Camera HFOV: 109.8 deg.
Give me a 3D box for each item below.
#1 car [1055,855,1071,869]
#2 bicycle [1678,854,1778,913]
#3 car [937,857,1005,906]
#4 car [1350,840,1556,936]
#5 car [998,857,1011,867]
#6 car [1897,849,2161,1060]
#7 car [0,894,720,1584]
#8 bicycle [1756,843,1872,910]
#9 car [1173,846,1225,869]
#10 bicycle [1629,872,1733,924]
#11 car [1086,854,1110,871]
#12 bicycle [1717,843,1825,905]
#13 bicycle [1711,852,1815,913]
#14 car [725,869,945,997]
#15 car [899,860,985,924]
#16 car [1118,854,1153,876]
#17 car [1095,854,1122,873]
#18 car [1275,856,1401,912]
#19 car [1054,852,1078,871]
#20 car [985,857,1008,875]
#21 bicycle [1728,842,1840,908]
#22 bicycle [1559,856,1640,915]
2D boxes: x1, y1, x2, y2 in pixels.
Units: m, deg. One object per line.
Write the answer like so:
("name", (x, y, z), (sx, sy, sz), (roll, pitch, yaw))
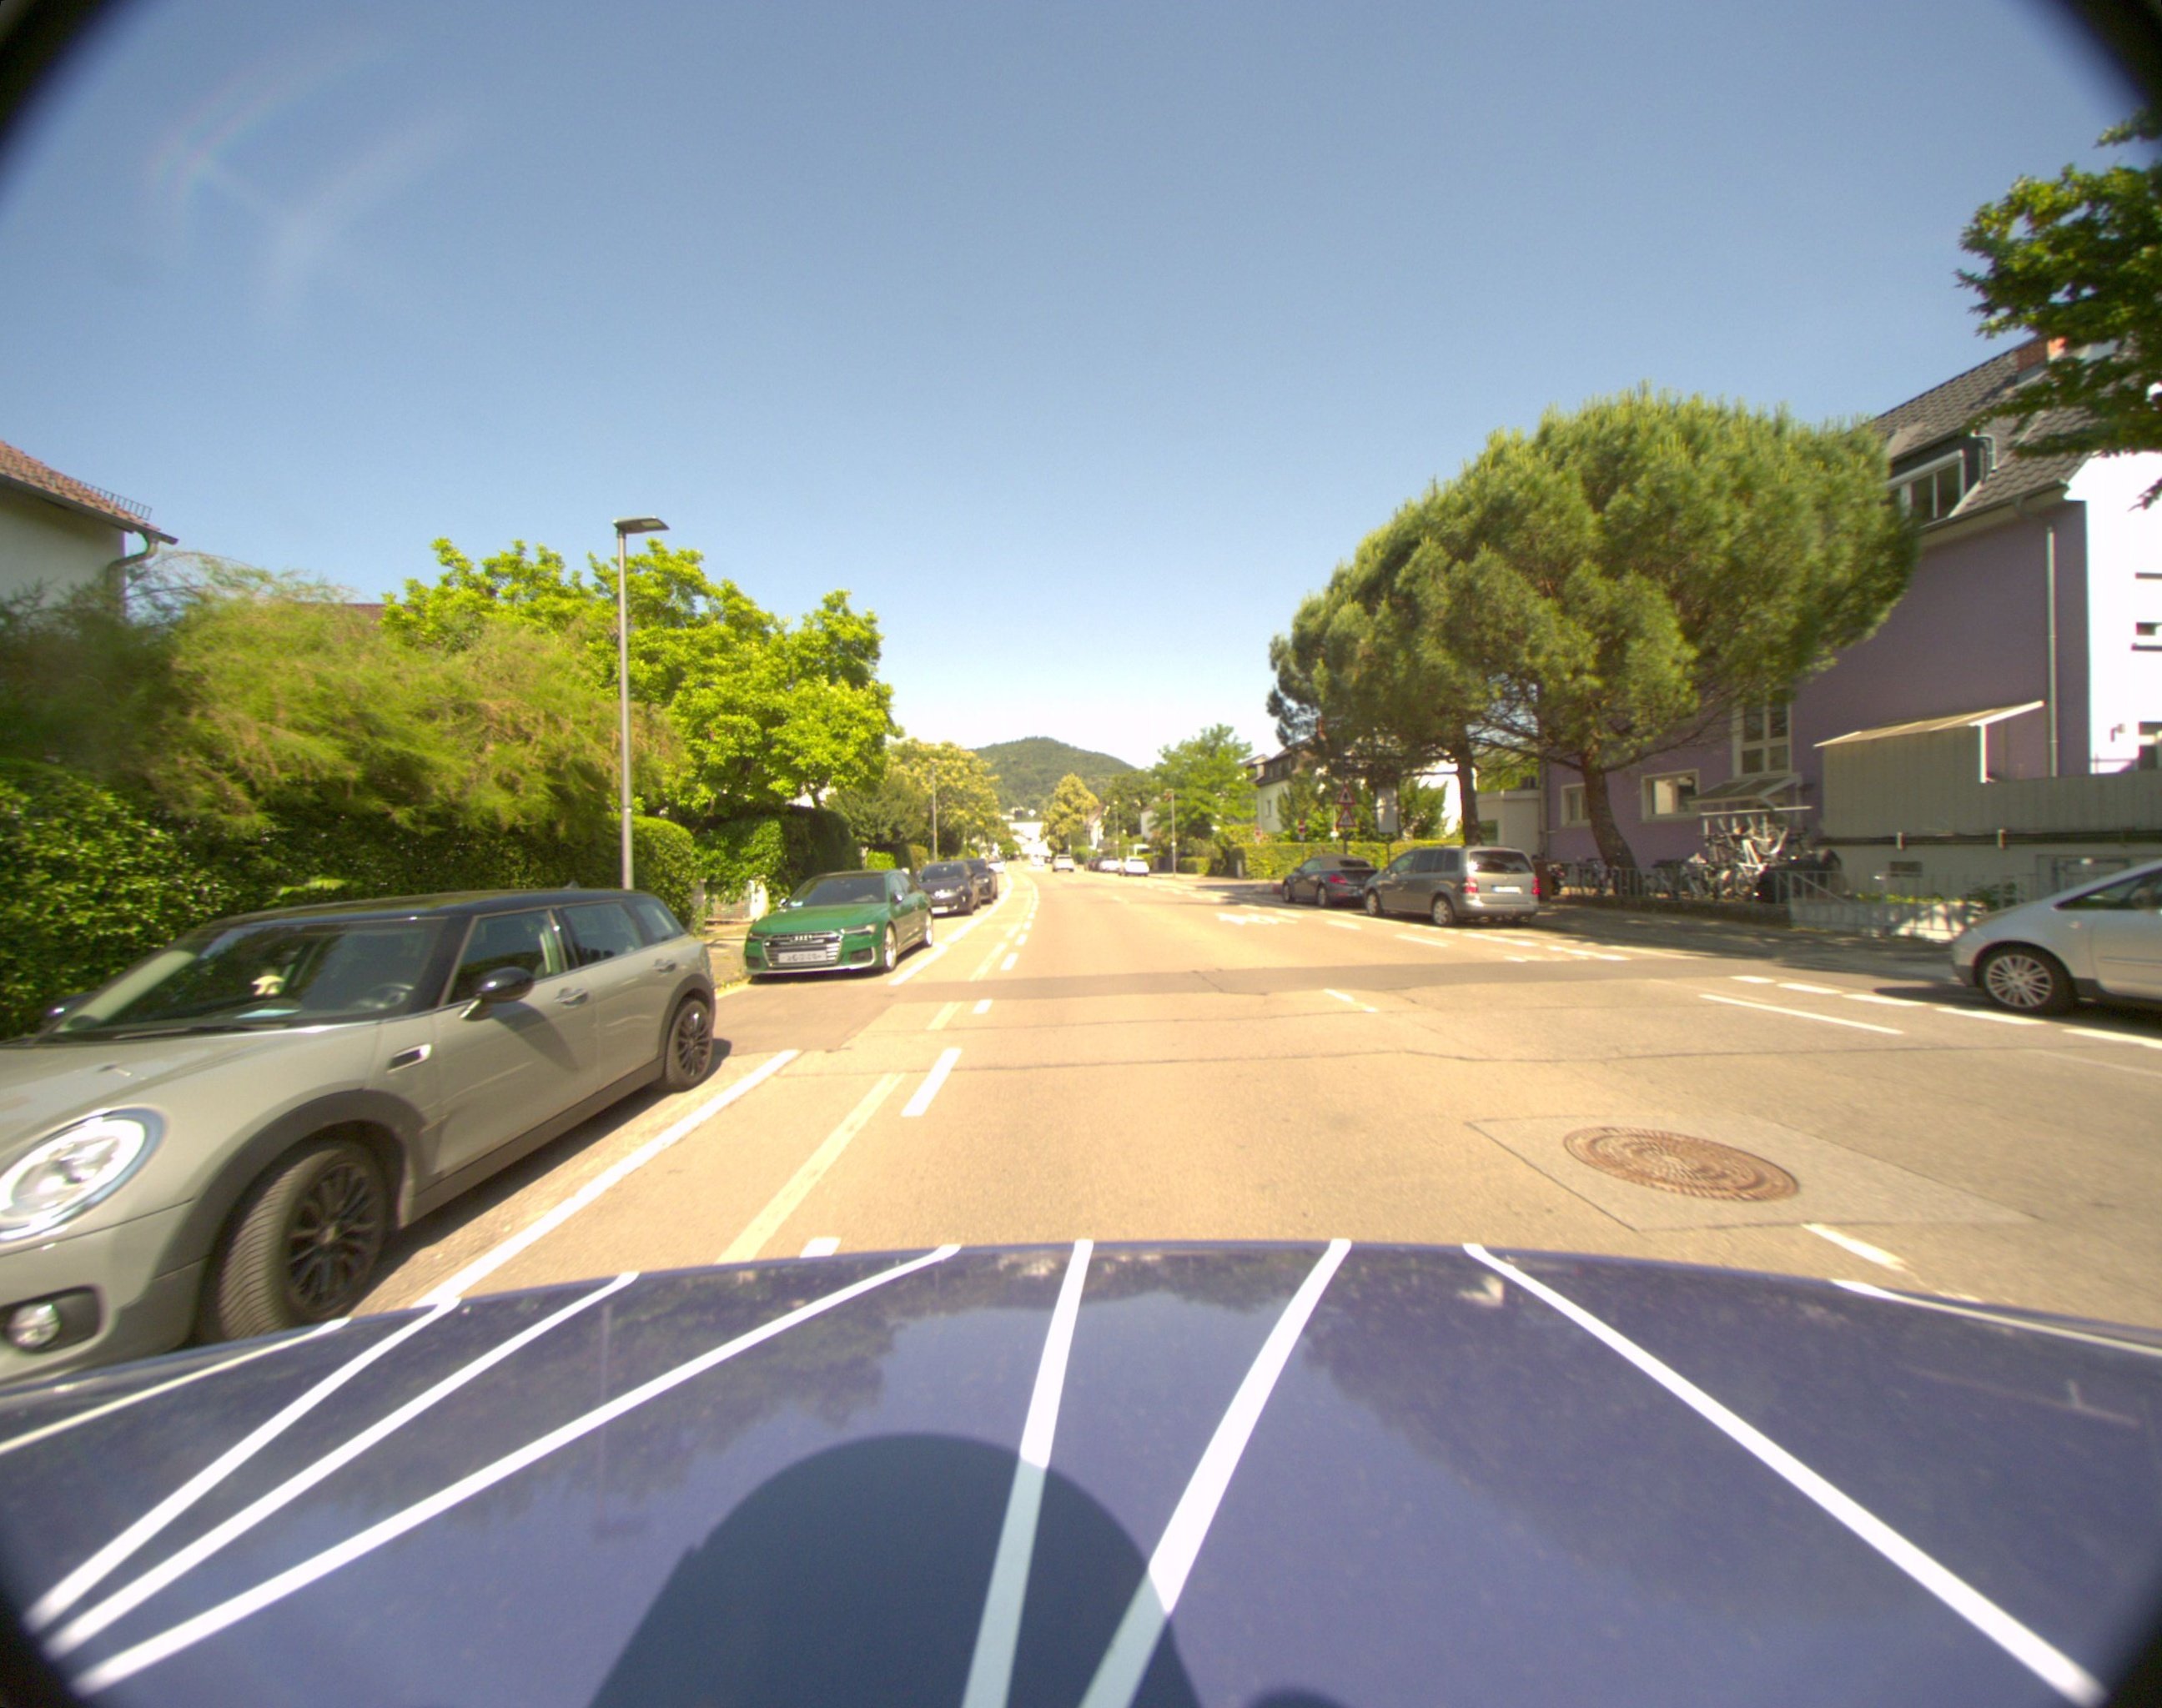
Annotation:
("car", (-2.411, 1.071, 100.085), (1.866, 1.741, 3.998), (0, 0, -6))
("bicycle", (15.395, 0.684, 18.089), (2.178, 1.375, 0.502), (0, 0, -8))
("car", (-3.886, 0.935, 27.549), (1.817, 1.550, 4.599), (-3, 0, -2))
("car", (7.650, 0.637, 16.240), (1.846, 1.754, 4.583), (0, 0, -5))
("car", (-13.164, 1.346, 130.244), (2.000, 1.696, 3.996), (-2, 0, -9))
("car", (8.817, 0.731, 5.349), (1.725, 1.550, 3.999), (0, 0, -4))
("car", (-3.496, 1.002, 3.627), (1.767, 1.435, 4.067), (0, 0, -3))
("bicycle", (15.239, 0.457, 15.807), (2.178, 1.375, 0.503), (0, 0, -8))
("car", (9.510, 0.312, 61.497), (3.995, 1.805, 2.001), (0, 0, 5))
("bicycle", (12.033, 0.851, 15.327), (0.459, 0.948, 1.913), (-1, 0, -5))
("car", (1.715, 0.872, 78.361), (1.999, 1.674, 3.998), (-1, 0, -4))
("bicycle", (15.448, 0.438, 17.014), (2.178, 1.375, 0.503), (0, 0, -8))
("bicycle", (15.784, 0.653, 17.603), (2.178, 1.375, 0.503), (0, 0, -8))
("car", (-3.535, 1.042, 11.996), (1.816, 1.454, 4.788), (-4, 0, 0))
("car", (-3.937, 1.031, 22.127), (1.817, 1.550, 3.915), (-5, 0, -2))
("car", (4.000, 0.773, 56.222), (1.959, 1.543, 3.998), (-1, 0, -4))
("car", (2.458, 0.823, 68.429), (1.999, 1.608, 3.998), (-1, 0, -4))
("car", (7.167, 0.795, 21.678), (1.846, 1.448, 4.192), (0, 0, -5))
("car", (-1.467, 0.705, 73.622), (2.006, 1.803, 4.763), (0, 0, -5))
("car", (-8.350, 1.141, 74.904), (2.000, 1.696, 3.996), (-2, 0, -9))
("bicycle", (15.168, 0.442, 16.410), (2.178, 1.375, 0.503), (0, 0, -8))
("bicycle", (11.833, 0.678, 17.399), (0.459, 1.259, 1.913), (-1, 0, -3))
